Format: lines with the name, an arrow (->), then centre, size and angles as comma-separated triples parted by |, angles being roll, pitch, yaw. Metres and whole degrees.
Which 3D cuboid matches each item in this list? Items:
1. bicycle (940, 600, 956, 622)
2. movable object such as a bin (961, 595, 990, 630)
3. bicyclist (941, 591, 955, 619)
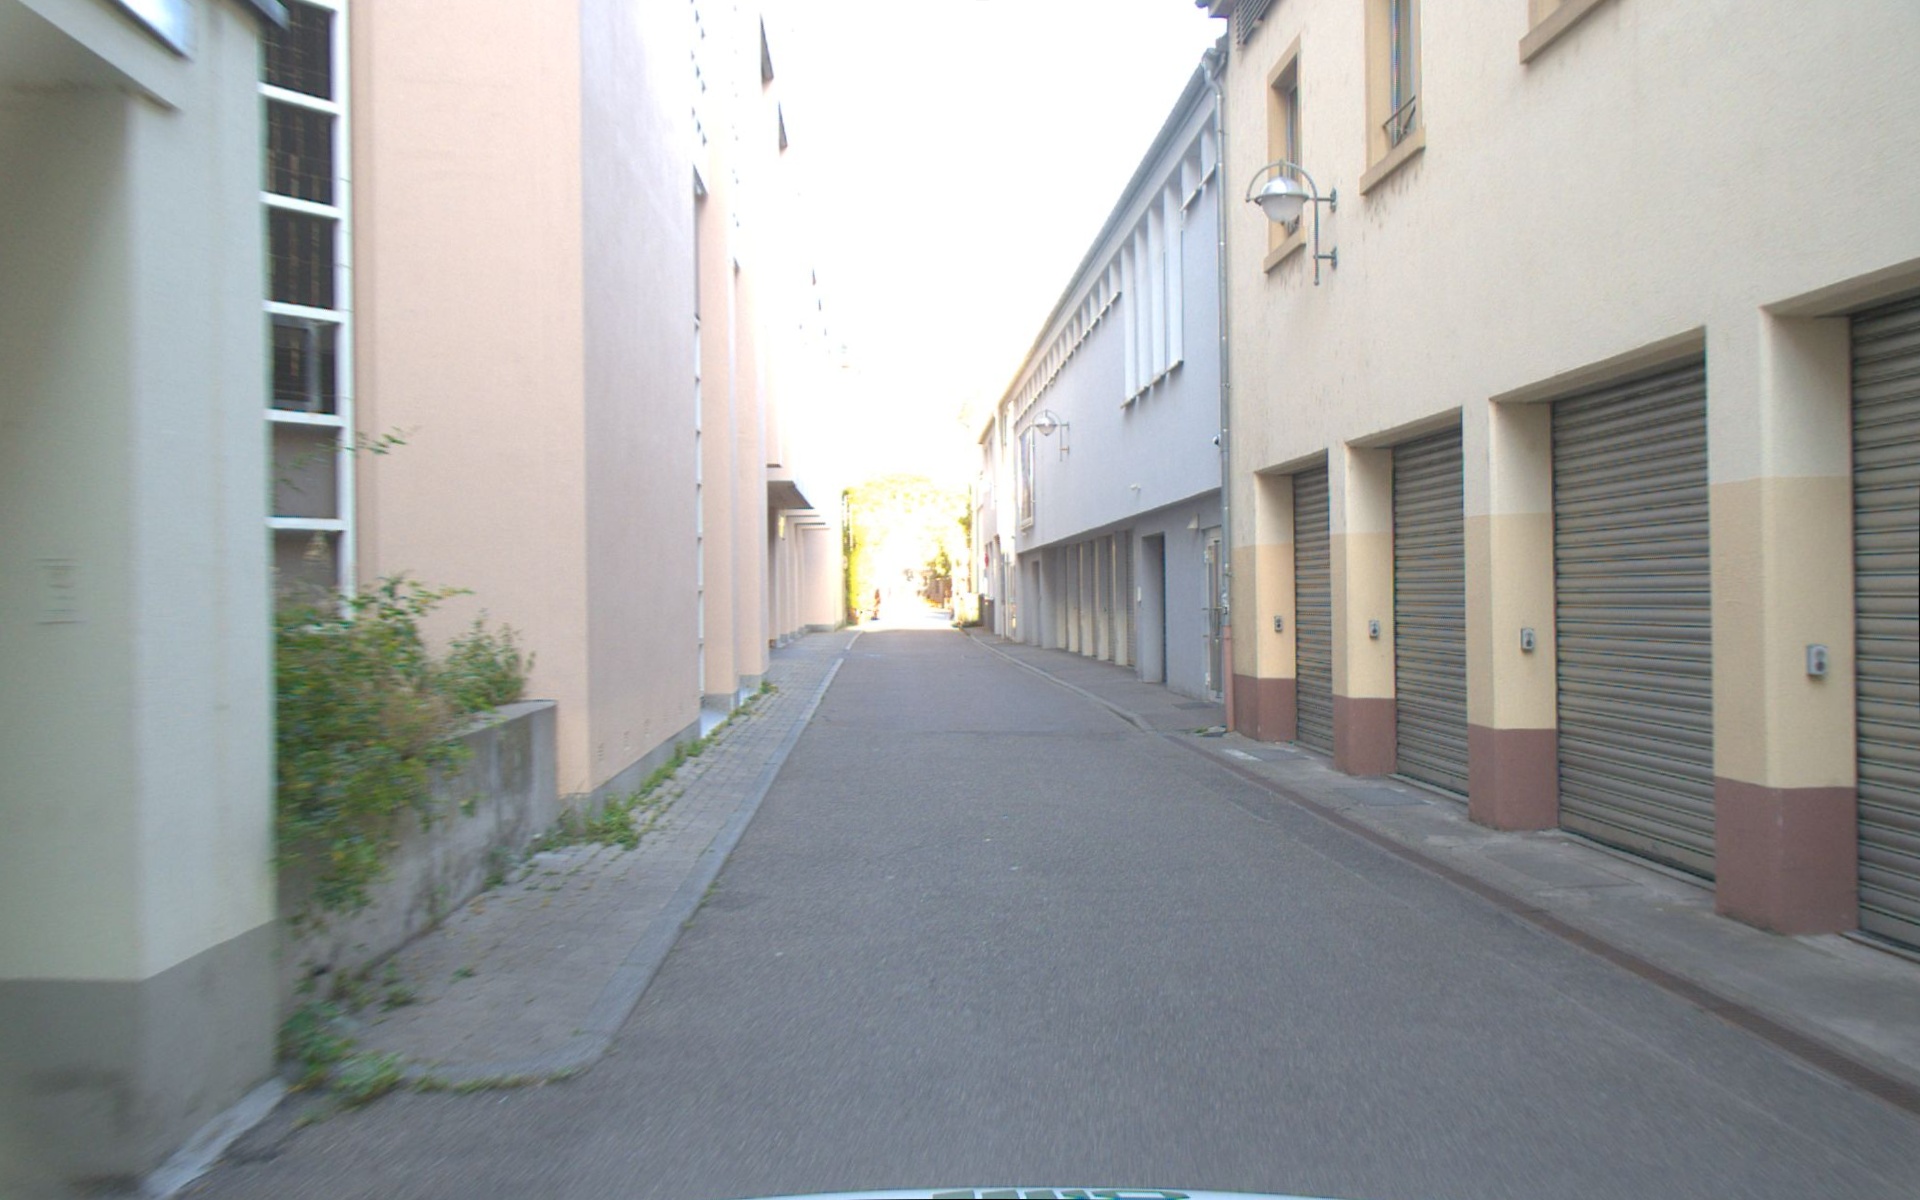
bicycle -> -0.716, 0.660, 98.014 | 0.758, 1.283, 2.215 | 1, 0, -5
movable object such as a bin -> 0.642, 0.501, 68.084 | 0.920, 1.390, 1.339 | -3, 0, -8
bicyclist -> -0.709, 0.291, 98.015 | 0.758, 1.593, 0.692 | 1, 0, -6
